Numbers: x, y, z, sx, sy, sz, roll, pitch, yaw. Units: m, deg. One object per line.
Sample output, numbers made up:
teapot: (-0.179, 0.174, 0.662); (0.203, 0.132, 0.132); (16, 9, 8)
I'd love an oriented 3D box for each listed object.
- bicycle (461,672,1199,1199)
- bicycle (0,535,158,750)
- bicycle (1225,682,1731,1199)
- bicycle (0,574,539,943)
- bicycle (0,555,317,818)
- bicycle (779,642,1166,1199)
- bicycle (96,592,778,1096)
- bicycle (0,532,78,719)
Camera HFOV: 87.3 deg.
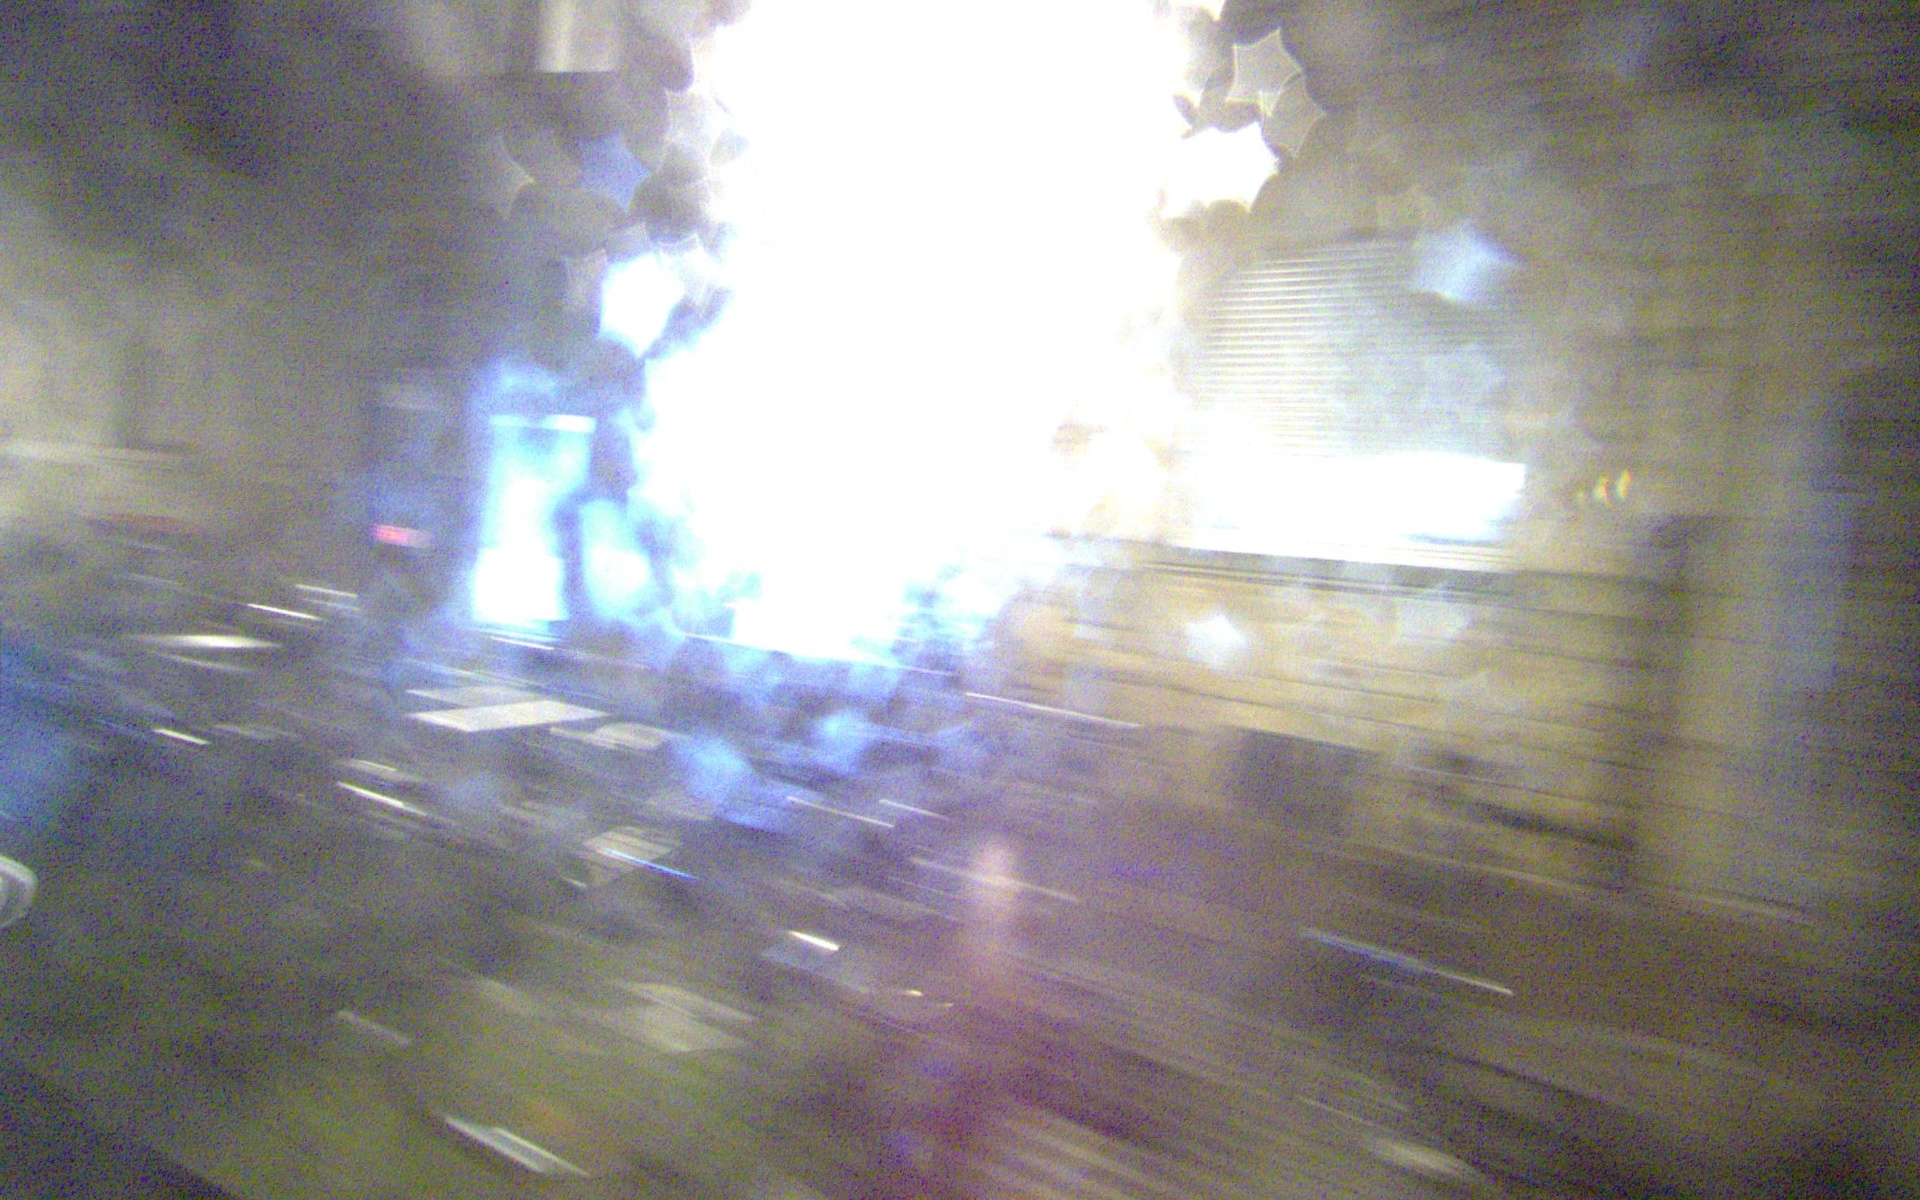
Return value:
bicycle: (-0.159, 0.749, 2.696); (0.633, 1.019, 1.965); (7, 1, 41)
bicycle: (-5.155, 0.183, 4.798); (0.630, 1.048, 1.973); (6, 1, 22)
bicycle: (1.213, 0.848, 2.627); (0.708, 1.101, 1.823); (6, 1, 22)
bicycle: (-2.649, 0.477, 3.868); (0.630, 1.019, 1.973); (6, 1, 22)
bicycle: (-3.990, 0.341, 4.362); (0.630, 1.019, 1.973); (6, 1, 22)
bicycle: (0.132, 0.720, 2.858); (0.630, 1.067, 1.975); (6, 1, 7)
bicycle: (-1.442, 0.580, 3.283); (0.630, 1.079, 1.973); (6, 1, 22)
bicycle: (-5.850, 0.103, 5.089); (0.630, 1.019, 1.973); (6, 1, 22)
